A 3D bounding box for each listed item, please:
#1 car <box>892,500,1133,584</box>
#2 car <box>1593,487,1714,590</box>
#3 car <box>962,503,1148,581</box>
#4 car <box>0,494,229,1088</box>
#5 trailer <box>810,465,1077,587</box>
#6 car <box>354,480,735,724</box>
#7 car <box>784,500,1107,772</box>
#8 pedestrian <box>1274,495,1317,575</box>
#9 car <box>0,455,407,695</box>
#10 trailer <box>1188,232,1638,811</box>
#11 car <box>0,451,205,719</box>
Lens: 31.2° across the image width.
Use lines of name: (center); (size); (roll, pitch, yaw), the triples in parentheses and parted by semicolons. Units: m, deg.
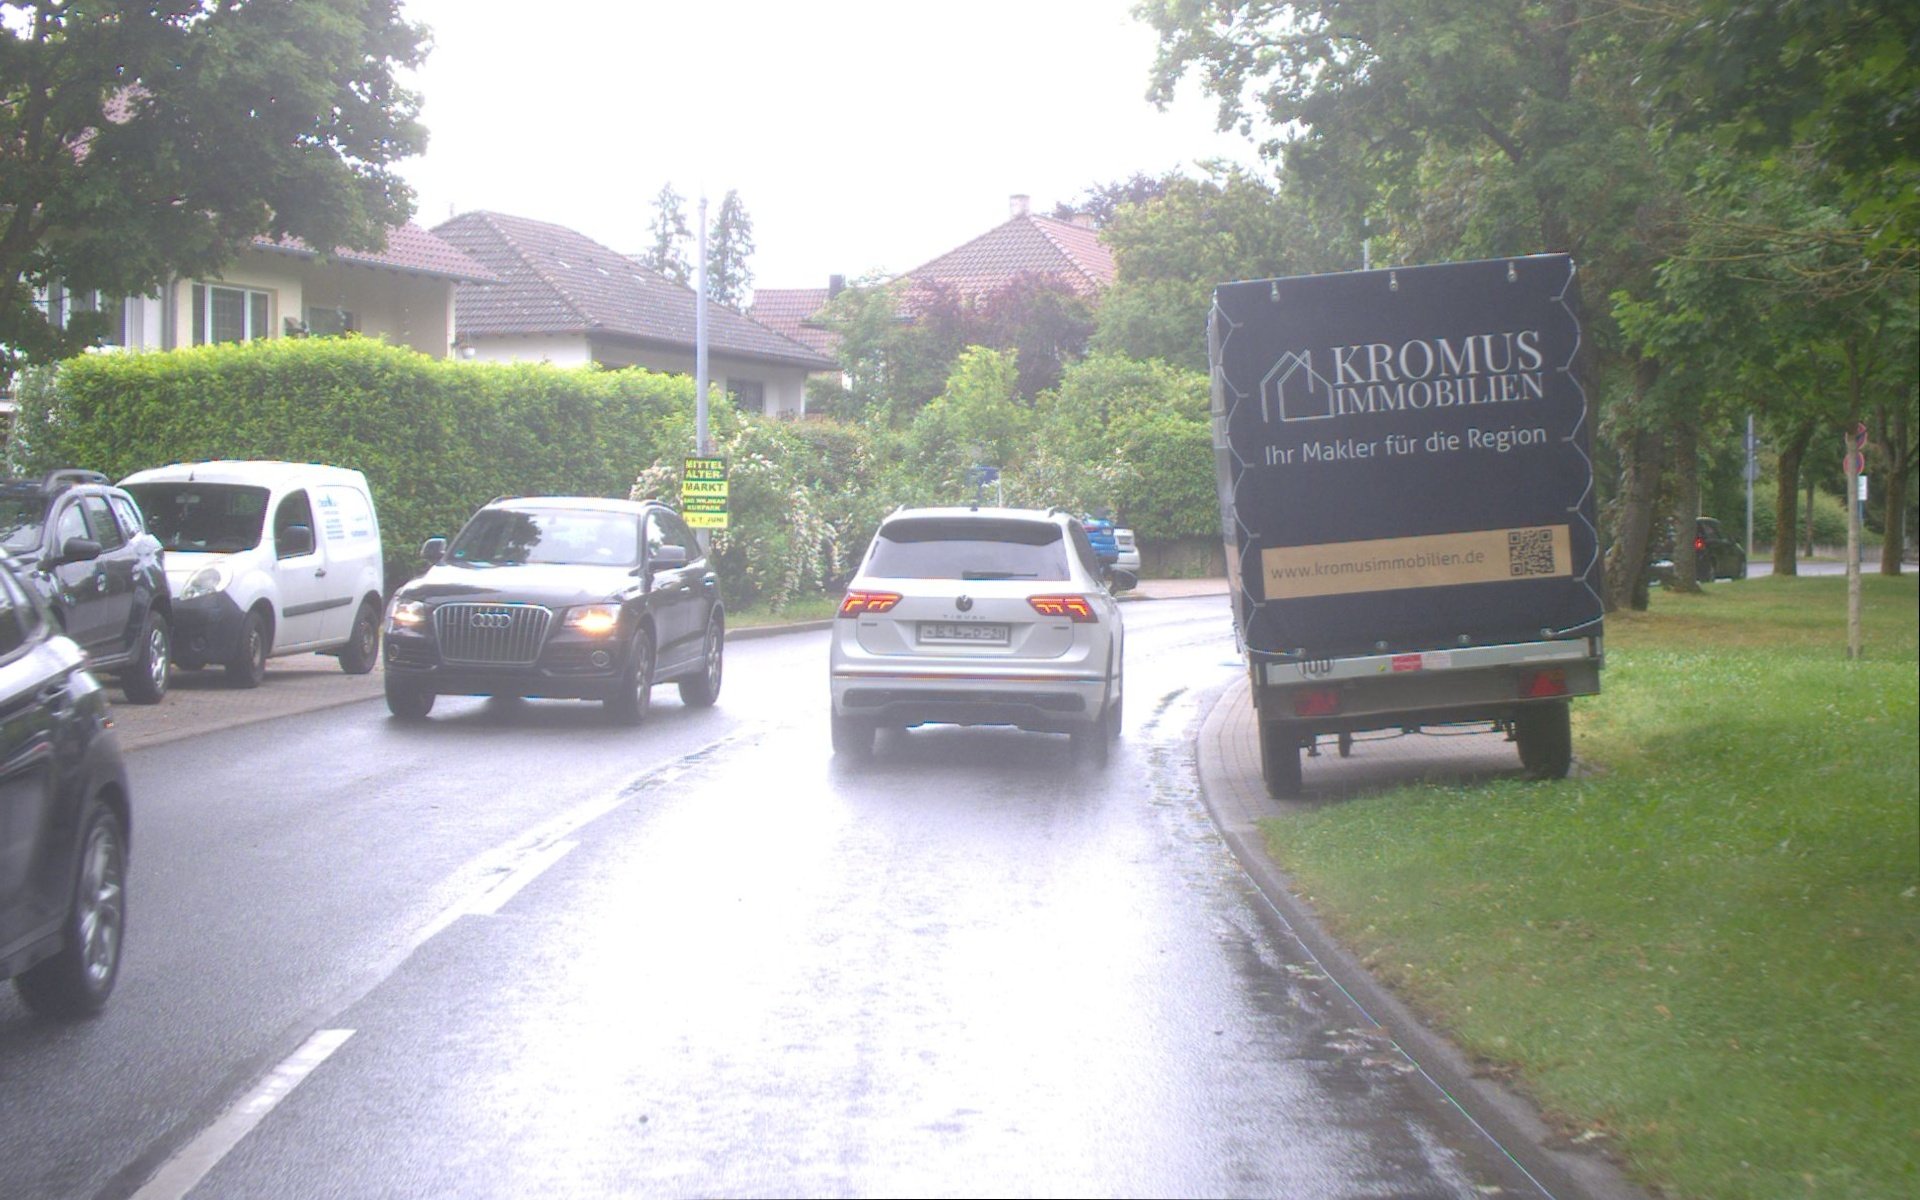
car: (1.039, -1.150, 67.284); (4.243, 1.534, 2.050); (2, 2, 22)
car: (14.544, -1.271, 71.982); (1.903, 2.007, 3.940); (3, 1, 19)
car: (1.945, -1.200, 70.408); (3.407, 1.514, 1.729); (2, 2, 22)
car: (-3.367, 0.483, 8.979); (1.790, 1.532, 4.092); (1, 2, 4)
trailer: (-0.312, -1.394, 64.184); (4.626, 2.164, 1.813); (2, 2, 22)
car: (-3.068, -0.050, 26.317); (1.852, 1.686, 4.404); (1, 2, 7)
car: (-0.129, 0.187, 23.608); (1.974, 1.647, 4.177); (2, 1, -1)
pedestrian: (7.010, -1.361, 71.831); (0.777, 1.656, 0.843); (1, 2, 11)
car: (-6.194, -0.230, 28.605); (1.799, 1.789, 4.371); (2, 1, 10)
trailer: (2.496, -0.458, 20.348); (1.994, 2.798, 5.608); (-5, 1, 3)
car: (-6.599, -0.150, 23.373); (1.750, 1.635, 4.592); (3, 1, 2)
